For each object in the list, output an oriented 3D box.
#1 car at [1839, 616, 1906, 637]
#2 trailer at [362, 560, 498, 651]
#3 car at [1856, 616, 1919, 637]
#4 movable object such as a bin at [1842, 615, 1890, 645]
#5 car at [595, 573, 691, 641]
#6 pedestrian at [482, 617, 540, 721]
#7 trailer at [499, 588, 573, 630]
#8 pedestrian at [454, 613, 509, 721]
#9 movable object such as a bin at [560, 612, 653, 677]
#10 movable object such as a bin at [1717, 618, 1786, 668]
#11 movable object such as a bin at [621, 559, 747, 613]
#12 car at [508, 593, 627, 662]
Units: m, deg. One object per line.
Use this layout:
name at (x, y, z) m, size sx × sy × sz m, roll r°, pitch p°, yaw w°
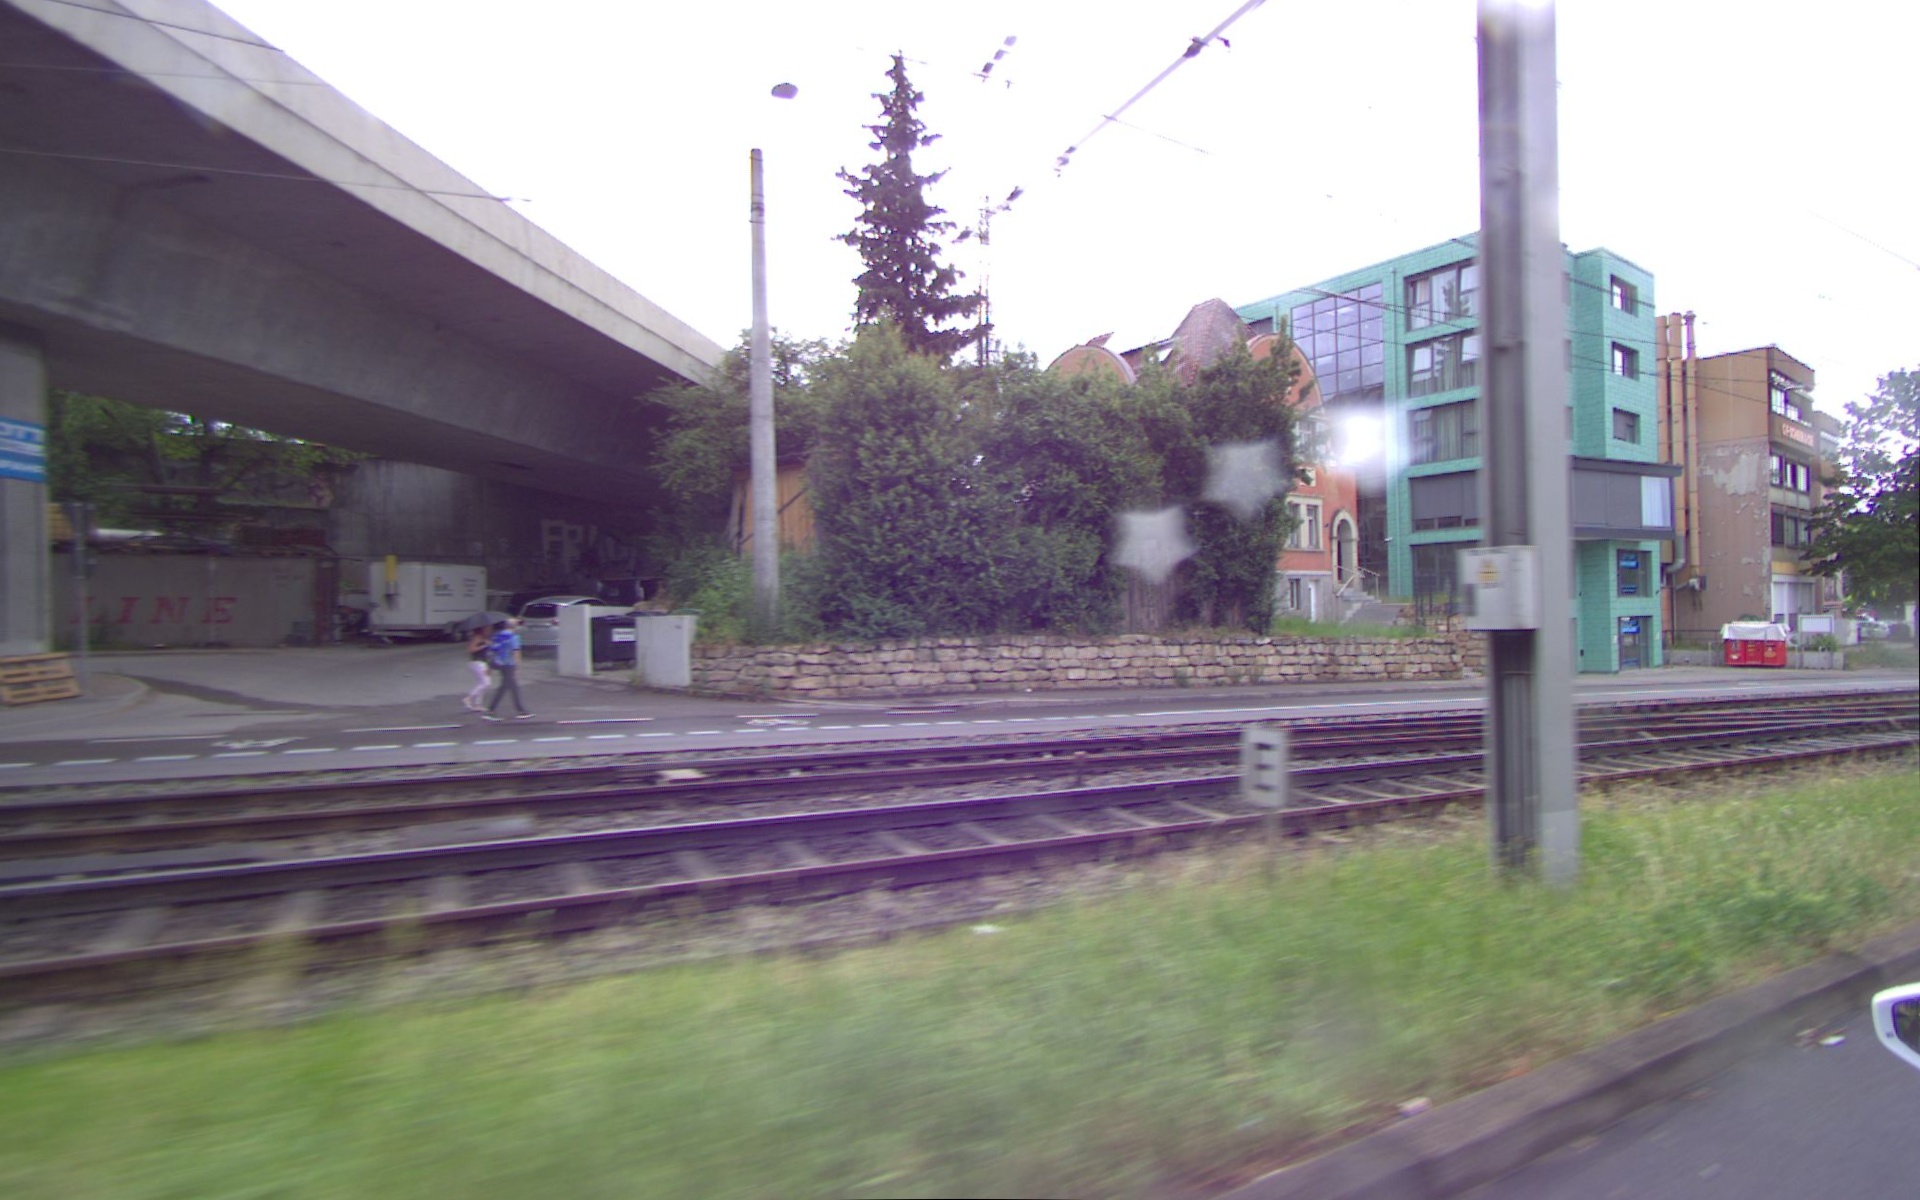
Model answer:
car at (71.321, 2.064, 78.583) m, size 3.715 × 1.473 × 1.546 m, roll 1°, pitch 0°, yaw 37°
trailer at (-16.975, 0.177, 32.405) m, size 1.960 × 2.761 × 4.125 m, roll 0°, pitch 0°, yaw 4°
car at (75.293, 2.134, 81.456) m, size 3.715 × 1.499 × 1.570 m, roll 1°, pitch 0°, yaw 37°
movable object such as a bin at (63.343, 2.082, 70.217) m, size 3.541 × 1.945 × 1.977 m, roll -1°, pitch 2°, yaw -40°
car at (-10.418, 0.175, 33.256) m, size 1.761 × 2.067 × 3.199 m, roll 1°, pitch 2°, yaw 10°
pedestrian at (-7.657, 1.150, 17.136) m, size 0.876 × 1.692 × 0.691 m, roll 0°, pitch 0°, yaw -26°
trailer at (-17.069, 0.360, 40.589) m, size 1.965 × 1.617 × 3.992 m, roll 0°, pitch 0°, yaw -11°
pedestrian at (-8.501, 1.159, 17.840) m, size 0.856 × 1.855 × 0.690 m, roll 0°, pitch 0°, yaw -28°
movable object such as a bin at (-8.761, 1.075, 24.999) m, size 1.530 × 1.499 × 1.803 m, roll 0°, pitch 1°, yaw 7°
movable object such as a bin at (36.684, 1.960, 46.562) m, size 1.785 × 2.186 × 2.118 m, roll -1°, pitch 2°, yaw -37°
movable object such as a bin at (-13.264, -0.643, 48.355) m, size 5.399 × 2.486 × 2.614 m, roll 0°, pitch 0°, yaw -31°
car at (-10.869, 0.715, 28.062) m, size 1.684 × 1.690 × 3.199 m, roll 1°, pitch 2°, yaw 10°
